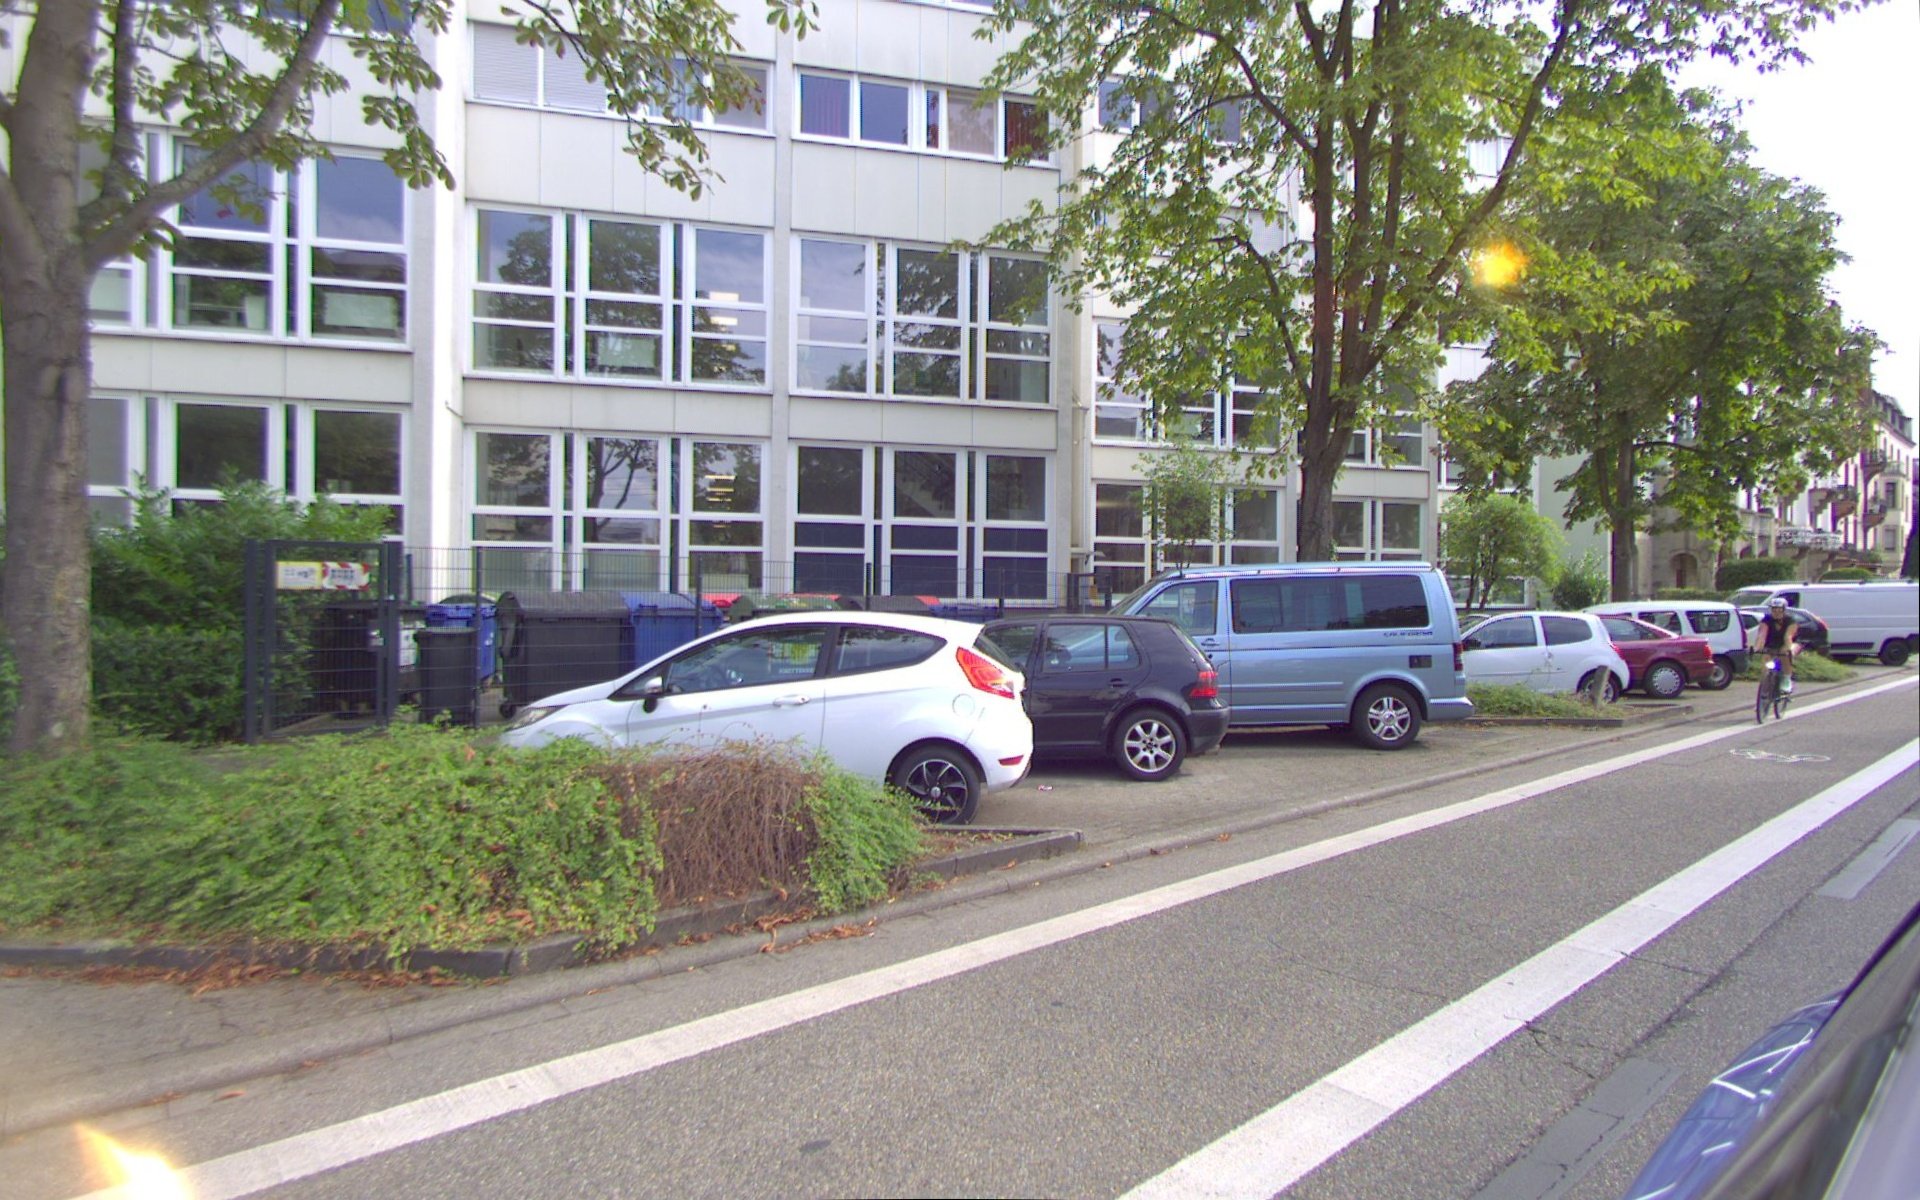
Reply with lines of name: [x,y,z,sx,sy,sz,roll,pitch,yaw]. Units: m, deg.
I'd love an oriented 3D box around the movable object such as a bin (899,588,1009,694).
movable object such as a bin: [-0.088,0.592,15.399,1.299,1.527,1.071,1,-1,-39]

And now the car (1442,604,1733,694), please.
car: [10.715,0.805,17.541,3.909,1.451,1.685,0,0,8]

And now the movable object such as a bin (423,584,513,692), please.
movable object such as a bin: [-7.495,0.559,15.471,1.056,1.582,1.037,0,-1,-16]

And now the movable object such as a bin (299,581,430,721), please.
movable object such as a bin: [-6.917,0.565,11.828,1.056,1.542,1.121,0,-1,-16]

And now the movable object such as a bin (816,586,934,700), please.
movable object such as a bin: [-1.209,0.586,14.413,1.299,1.527,1.071,1,-1,-39]

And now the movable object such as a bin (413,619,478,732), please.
movable object such as a bin: [-5.387,0.766,10.589,0.561,1.117,0.653,0,-1,-31]

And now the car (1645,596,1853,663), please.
car: [20.276,0.730,26.150,3.891,1.669,1.687,0,0,6]

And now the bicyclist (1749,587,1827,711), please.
bicyclist: [11.172,0.634,13.650,1.091,1.590,0.639,1,1,-42]

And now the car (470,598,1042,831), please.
car: [-1.314,0.728,7.372,3.759,1.478,1.639,0,0,4]

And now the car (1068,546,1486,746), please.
car: [3.359,0.471,11.476,4.201,2.040,1.829,0,0,6]

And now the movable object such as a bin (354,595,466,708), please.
movable object such as a bin: [-7.059,0.639,13.049,1.056,1.385,1.037,0,-1,-16]

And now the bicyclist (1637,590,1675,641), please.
bicyclist: [21.133,0.470,30.716,0.785,1.488,0.650,1,2,-33]

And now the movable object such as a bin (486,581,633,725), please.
movable object such as a bin: [-4.597,0.568,11.610,1.310,1.527,1.071,1,-1,-39]

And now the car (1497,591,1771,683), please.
car: [12.837,0.678,19.482,4.036,1.689,1.687,0,0,5]

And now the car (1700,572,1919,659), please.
car: [24.102,0.414,28.307,4.875,2.319,2.380,0,0,8]

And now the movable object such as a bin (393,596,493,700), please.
movable object such as a bin: [-7.197,0.647,14.145,1.056,1.385,1.037,0,-1,-16]

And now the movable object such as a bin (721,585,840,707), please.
movable object such as a bin: [-2.379,0.579,13.428,1.192,1.527,1.071,1,-1,-39]

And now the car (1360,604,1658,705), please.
car: [8.360,0.793,15.695,3.651,1.451,1.687,0,0,6]

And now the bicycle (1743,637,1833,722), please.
bicycle: [11.231,1.039,13.702,2.036,0.993,0.639,0,1,-43]

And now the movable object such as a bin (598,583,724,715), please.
movable object such as a bin: [-3.708,0.574,12.547,1.192,1.527,1.071,1,-1,-39]

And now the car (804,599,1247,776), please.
car: [0.571,0.741,9.454,3.759,1.478,1.675,0,0,4]

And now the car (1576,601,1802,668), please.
car: [17.225,0.788,24.087,4.020,1.530,1.687,0,0,6]
